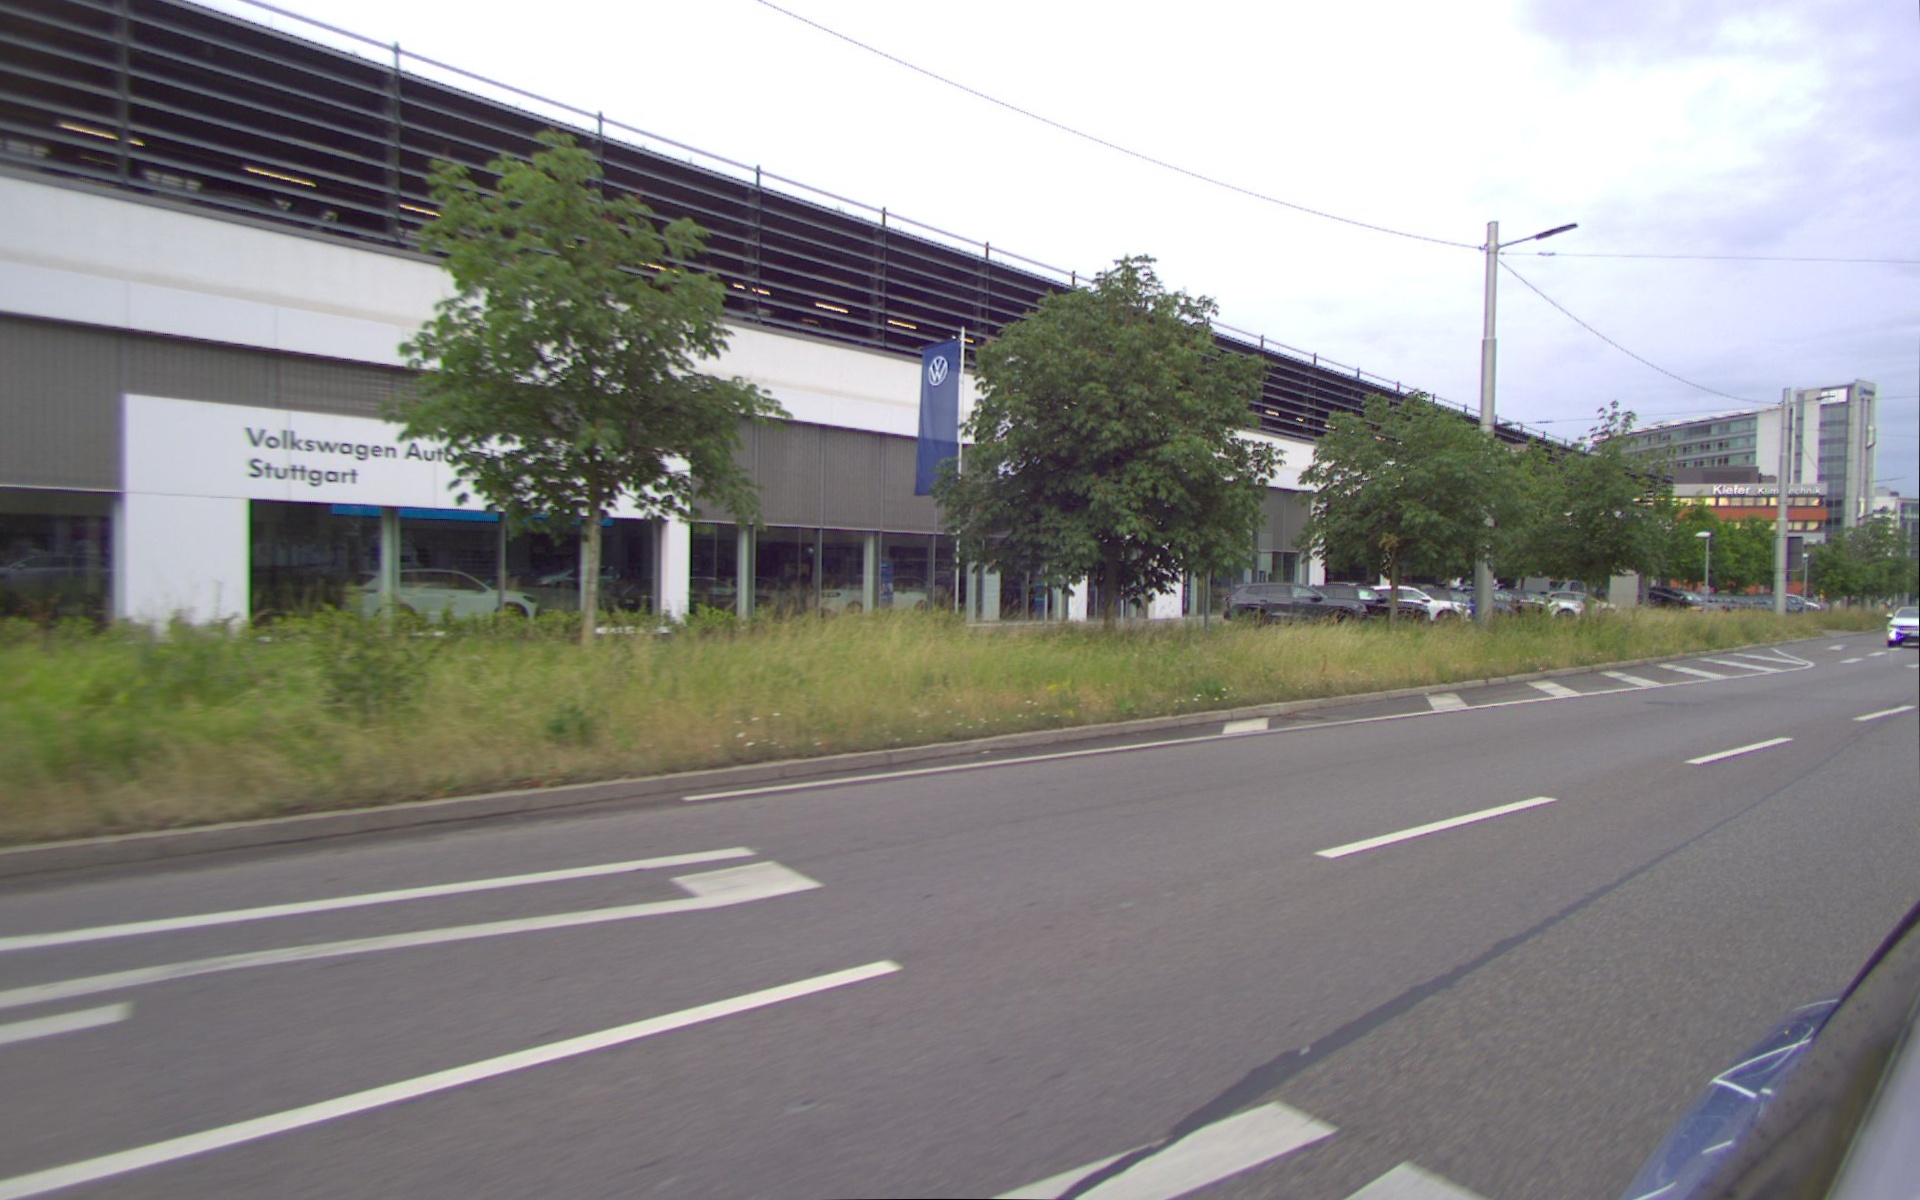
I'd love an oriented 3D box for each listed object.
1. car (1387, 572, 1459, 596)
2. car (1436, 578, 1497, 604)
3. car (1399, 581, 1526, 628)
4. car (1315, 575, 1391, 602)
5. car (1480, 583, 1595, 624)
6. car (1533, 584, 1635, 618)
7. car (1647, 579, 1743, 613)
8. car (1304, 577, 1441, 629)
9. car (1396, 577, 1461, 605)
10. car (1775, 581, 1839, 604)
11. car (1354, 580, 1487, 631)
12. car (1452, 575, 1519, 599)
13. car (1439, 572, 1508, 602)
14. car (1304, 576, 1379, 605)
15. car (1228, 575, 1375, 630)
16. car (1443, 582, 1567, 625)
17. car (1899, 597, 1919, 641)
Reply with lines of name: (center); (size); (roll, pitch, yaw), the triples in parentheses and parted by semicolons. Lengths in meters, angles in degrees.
car: (30.485, -1.057, 66.709); (1.734, 1.442, 3.992); (0, 2, -43)
car: (31.514, -0.565, 62.878); (4.618, 1.485, 1.896); (-1, 4, -44)
car: (19.943, 0.150, 40.324); (4.127, 1.587, 1.793); (2, 3, 13)
car: (24.002, -0.698, 61.920); (1.754, 1.527, 3.994); (0, -1, -40)
car: (25.742, 0.143, 45.231); (4.036, 1.587, 1.794); (2, 3, 11)
car: (32.029, 0.043, 52.073); (4.041, 1.483, 1.741); (2, 3, 15)
car: (46.924, -0.299, 64.726); (1.786, 1.899, 4.734); (1, 2, -19)
car: (14.721, 0.067, 36.386); (4.316, 1.587, 1.791); (3, 3, 17)
car: (26.944, -0.528, 58.103); (4.617, 1.485, 1.782); (-1, 4, -44)
car: (82.497, -0.767, 98.641); (4.462, 2.016, 1.803); (3, 2, 30)
car: (17.331, 0.187, 38.320); (4.297, 1.646, 1.847); (3, 3, 18)
car: (38.991, -0.980, 75.114); (1.873, 1.652, 3.992); (0, 2, -43)
car: (37.262, -0.965, 73.495); (1.912, 2.000, 4.032); (0, 2, -43)
car: (22.425, -0.576, 59.586); (1.611, 1.607, 3.821); (0, 2, -43)
car: (11.475, 0.033, 34.246); (4.565, 1.587, 1.842); (3, 3, 18)
car: (22.828, 0.127, 42.533); (4.118, 1.587, 1.797); (2, 3, 7)
car: (35.493, 0.682, 36.626); (3.770, 1.513, 1.876); (0, 1, -42)
